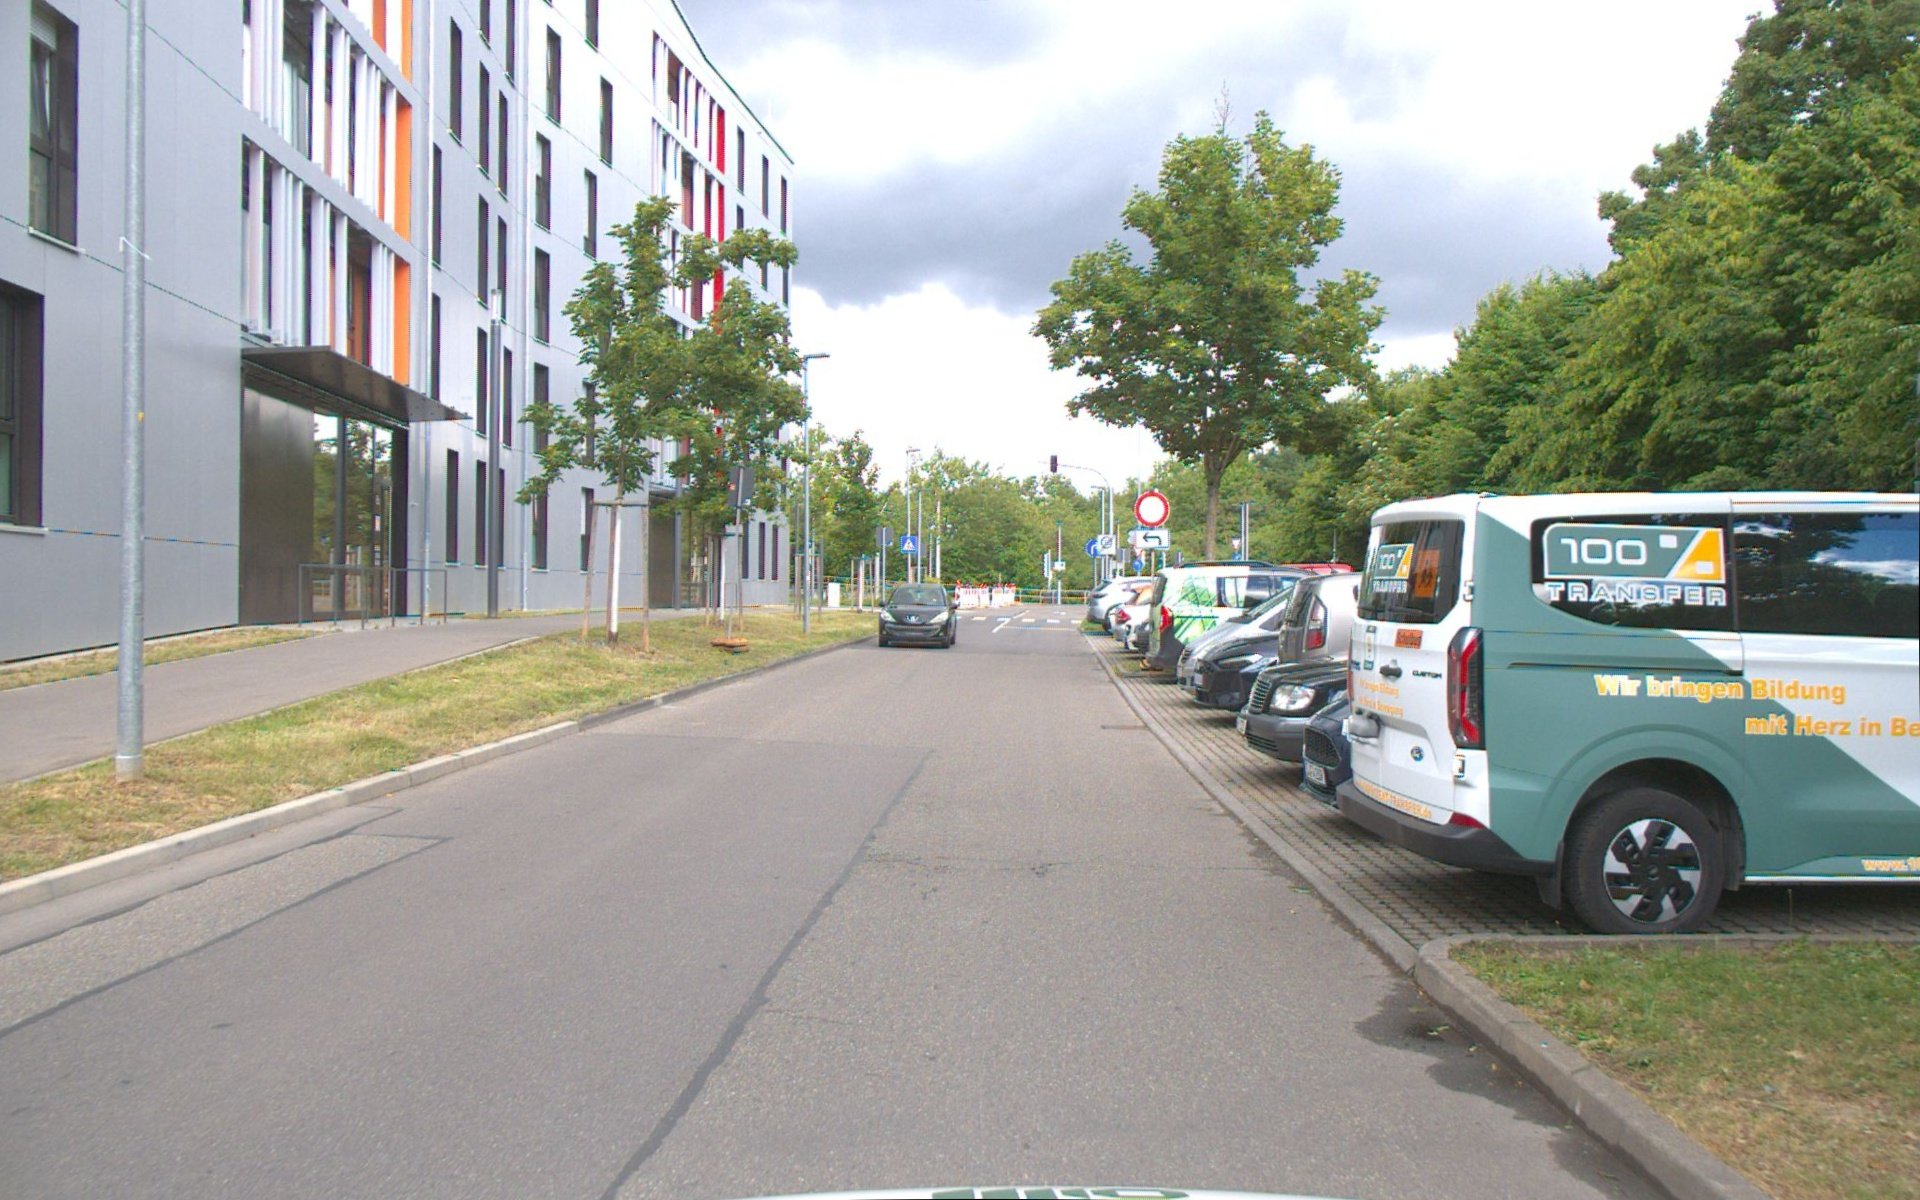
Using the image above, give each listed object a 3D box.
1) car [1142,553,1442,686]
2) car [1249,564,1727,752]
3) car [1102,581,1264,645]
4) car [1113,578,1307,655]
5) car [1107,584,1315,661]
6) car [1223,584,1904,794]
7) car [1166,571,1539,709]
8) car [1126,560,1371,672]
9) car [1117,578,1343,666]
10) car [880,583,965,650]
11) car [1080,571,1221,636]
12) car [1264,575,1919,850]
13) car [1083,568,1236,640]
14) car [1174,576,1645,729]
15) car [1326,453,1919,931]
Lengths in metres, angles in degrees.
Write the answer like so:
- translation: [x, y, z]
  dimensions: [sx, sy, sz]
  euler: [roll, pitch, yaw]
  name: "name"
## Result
- translation: [5.083, 0.277, 25.769]
  dimensions: [4.288, 1.937, 1.917]
  euler: [-1, 1, 1]
  name: "car"
- translation: [4.921, 0.508, 15.849]
  dimensions: [3.981, 1.637, 1.892]
  euler: [-1, 1, 1]
  name: "car"
- translation: [6.214, 0.345, 46.392]
  dimensions: [4.288, 1.609, 1.917]
  euler: [2, 1, 1]
  name: "car"
- translation: [5.854, 0.373, 39.086]
  dimensions: [4.288, 1.646, 1.917]
  euler: [2, 1, 1]
  name: "car"
- translation: [5.471, 0.476, 36.481]
  dimensions: [4.288, 1.500, 1.917]
  euler: [2, 1, 1]
  name: "car"
- translation: [4.528, 0.640, 13.026]
  dimensions: [4.625, 1.459, 2.057]
  euler: [-1, 1, 2]
  name: "car"
- translation: [4.867, 0.471, 20.970]
  dimensions: [4.288, 1.604, 1.917]
  euler: [-1, 1, 1]
  name: "car"
- translation: [5.392, 0.278, 31.346]
  dimensions: [4.288, 1.937, 1.937]
  euler: [2, 1, 1]
  name: "car"
- translation: [5.444, 0.434, 33.747]
  dimensions: [4.288, 1.601, 1.916]
  euler: [2, 0, 1]
  name: "car"
- translation: [-0.836, 0.350, 38.658]
  dimensions: [1.575, 1.412, 4.002]
  euler: [2, 1, 4]
  name: "car"
- translation: [6.094, 0.091, 53.185]
  dimensions: [4.288, 1.936, 1.917]
  euler: [2, 1, 1]
  name: "car"
- translation: [4.413, 0.645, 10.579]
  dimensions: [4.606, 1.543, 1.847]
  euler: [-1, 1, 1]
  name: "car"
- translation: [5.844, 0.100, 48.839]
  dimensions: [4.288, 1.936, 1.917]
  euler: [2, 1, 1]
  name: "car"
- translation: [4.859, 0.531, 18.369]
  dimensions: [4.630, 1.525, 2.111]
  euler: [-1, 1, -2]
  name: "car"
- translation: [4.447, 0.352, 8.075]
  dimensions: [4.873, 2.006, 1.846]
  euler: [-1, 1, -3]
  name: "car"
